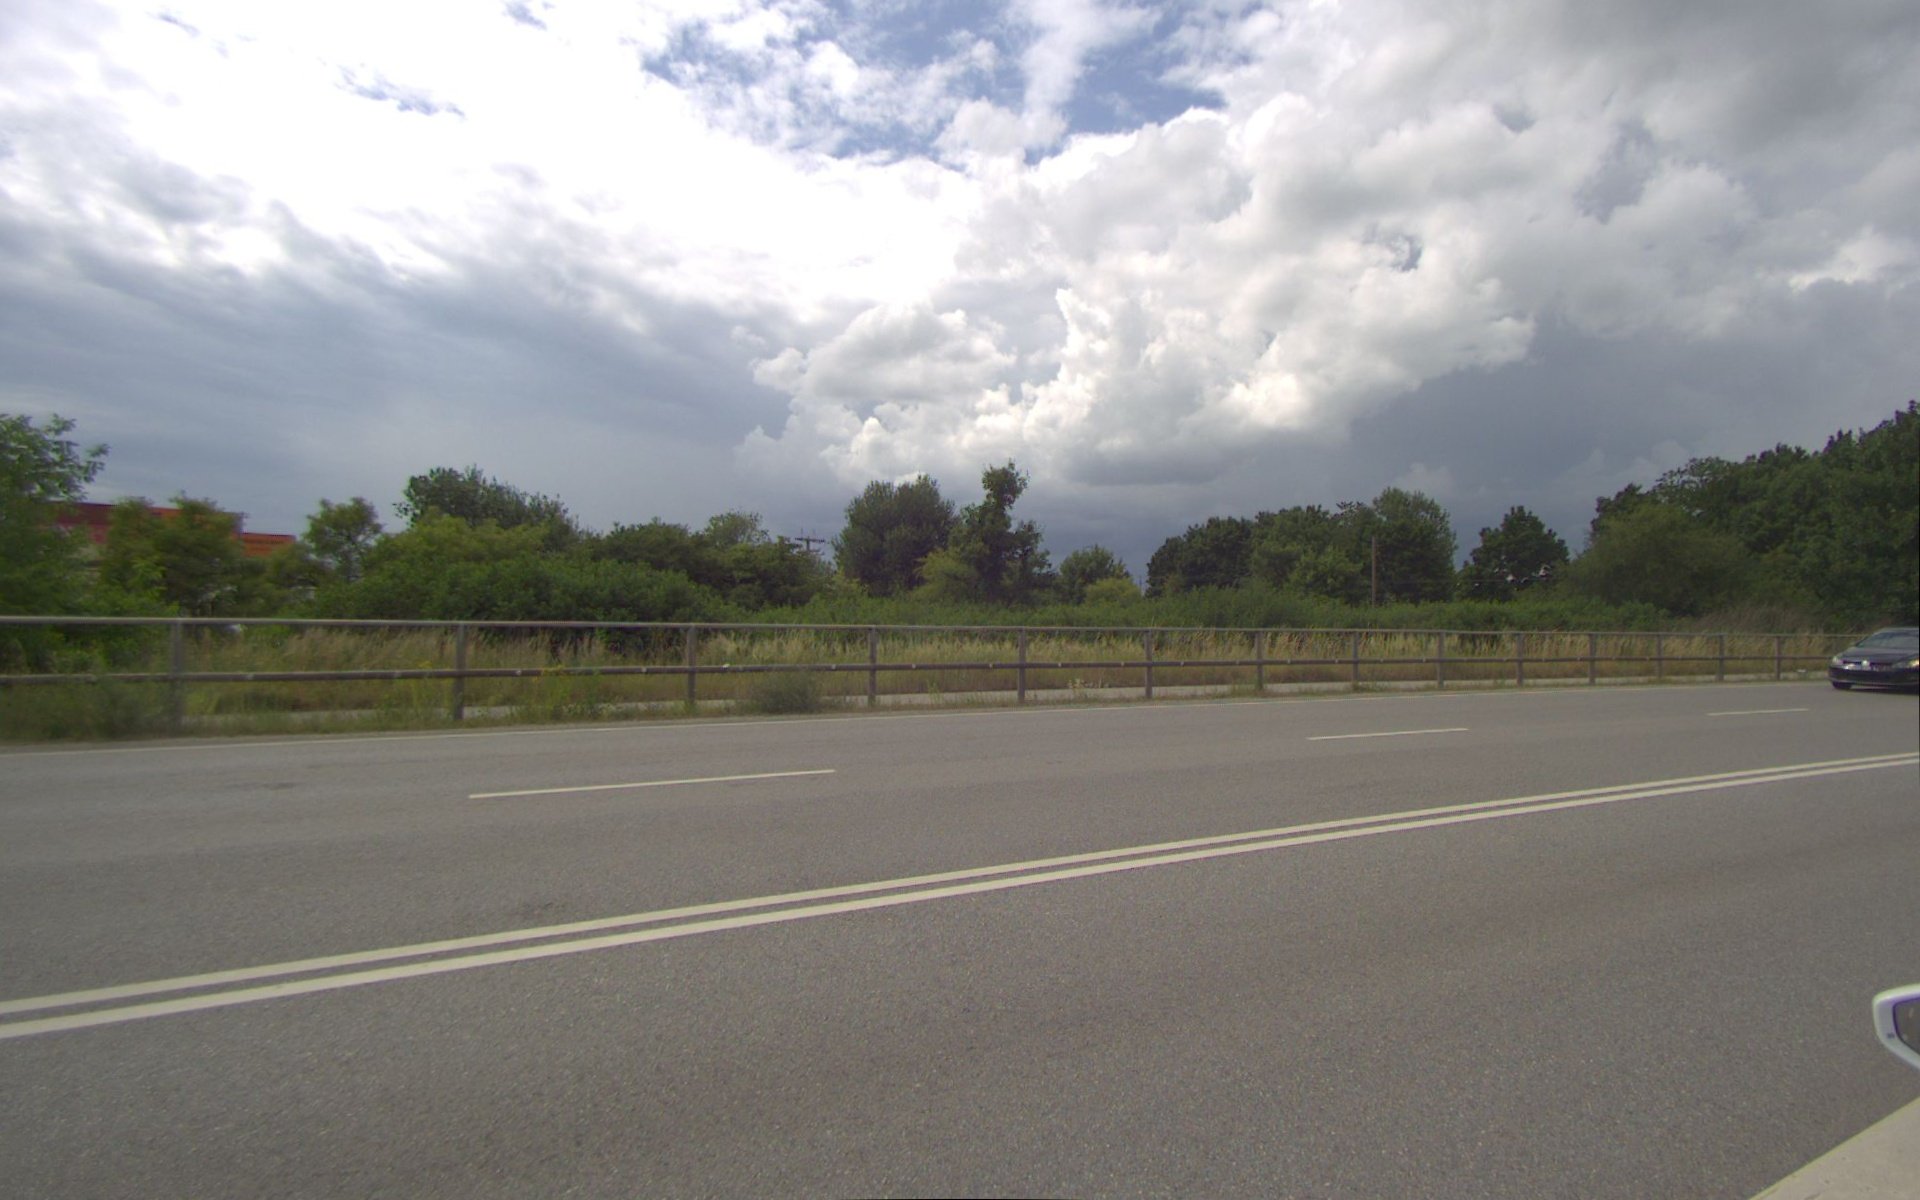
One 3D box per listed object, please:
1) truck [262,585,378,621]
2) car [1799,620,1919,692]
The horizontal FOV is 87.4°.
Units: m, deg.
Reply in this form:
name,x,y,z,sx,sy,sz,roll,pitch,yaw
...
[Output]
name,x,y,z,sx,sy,sz,roll,pitch,yaw
truck,-41.401,0.217,65.222,6.159,2.040,1.984,3,-1,-30
car,20.925,1.216,22.413,3.947,1.460,1.940,1,-1,-26
